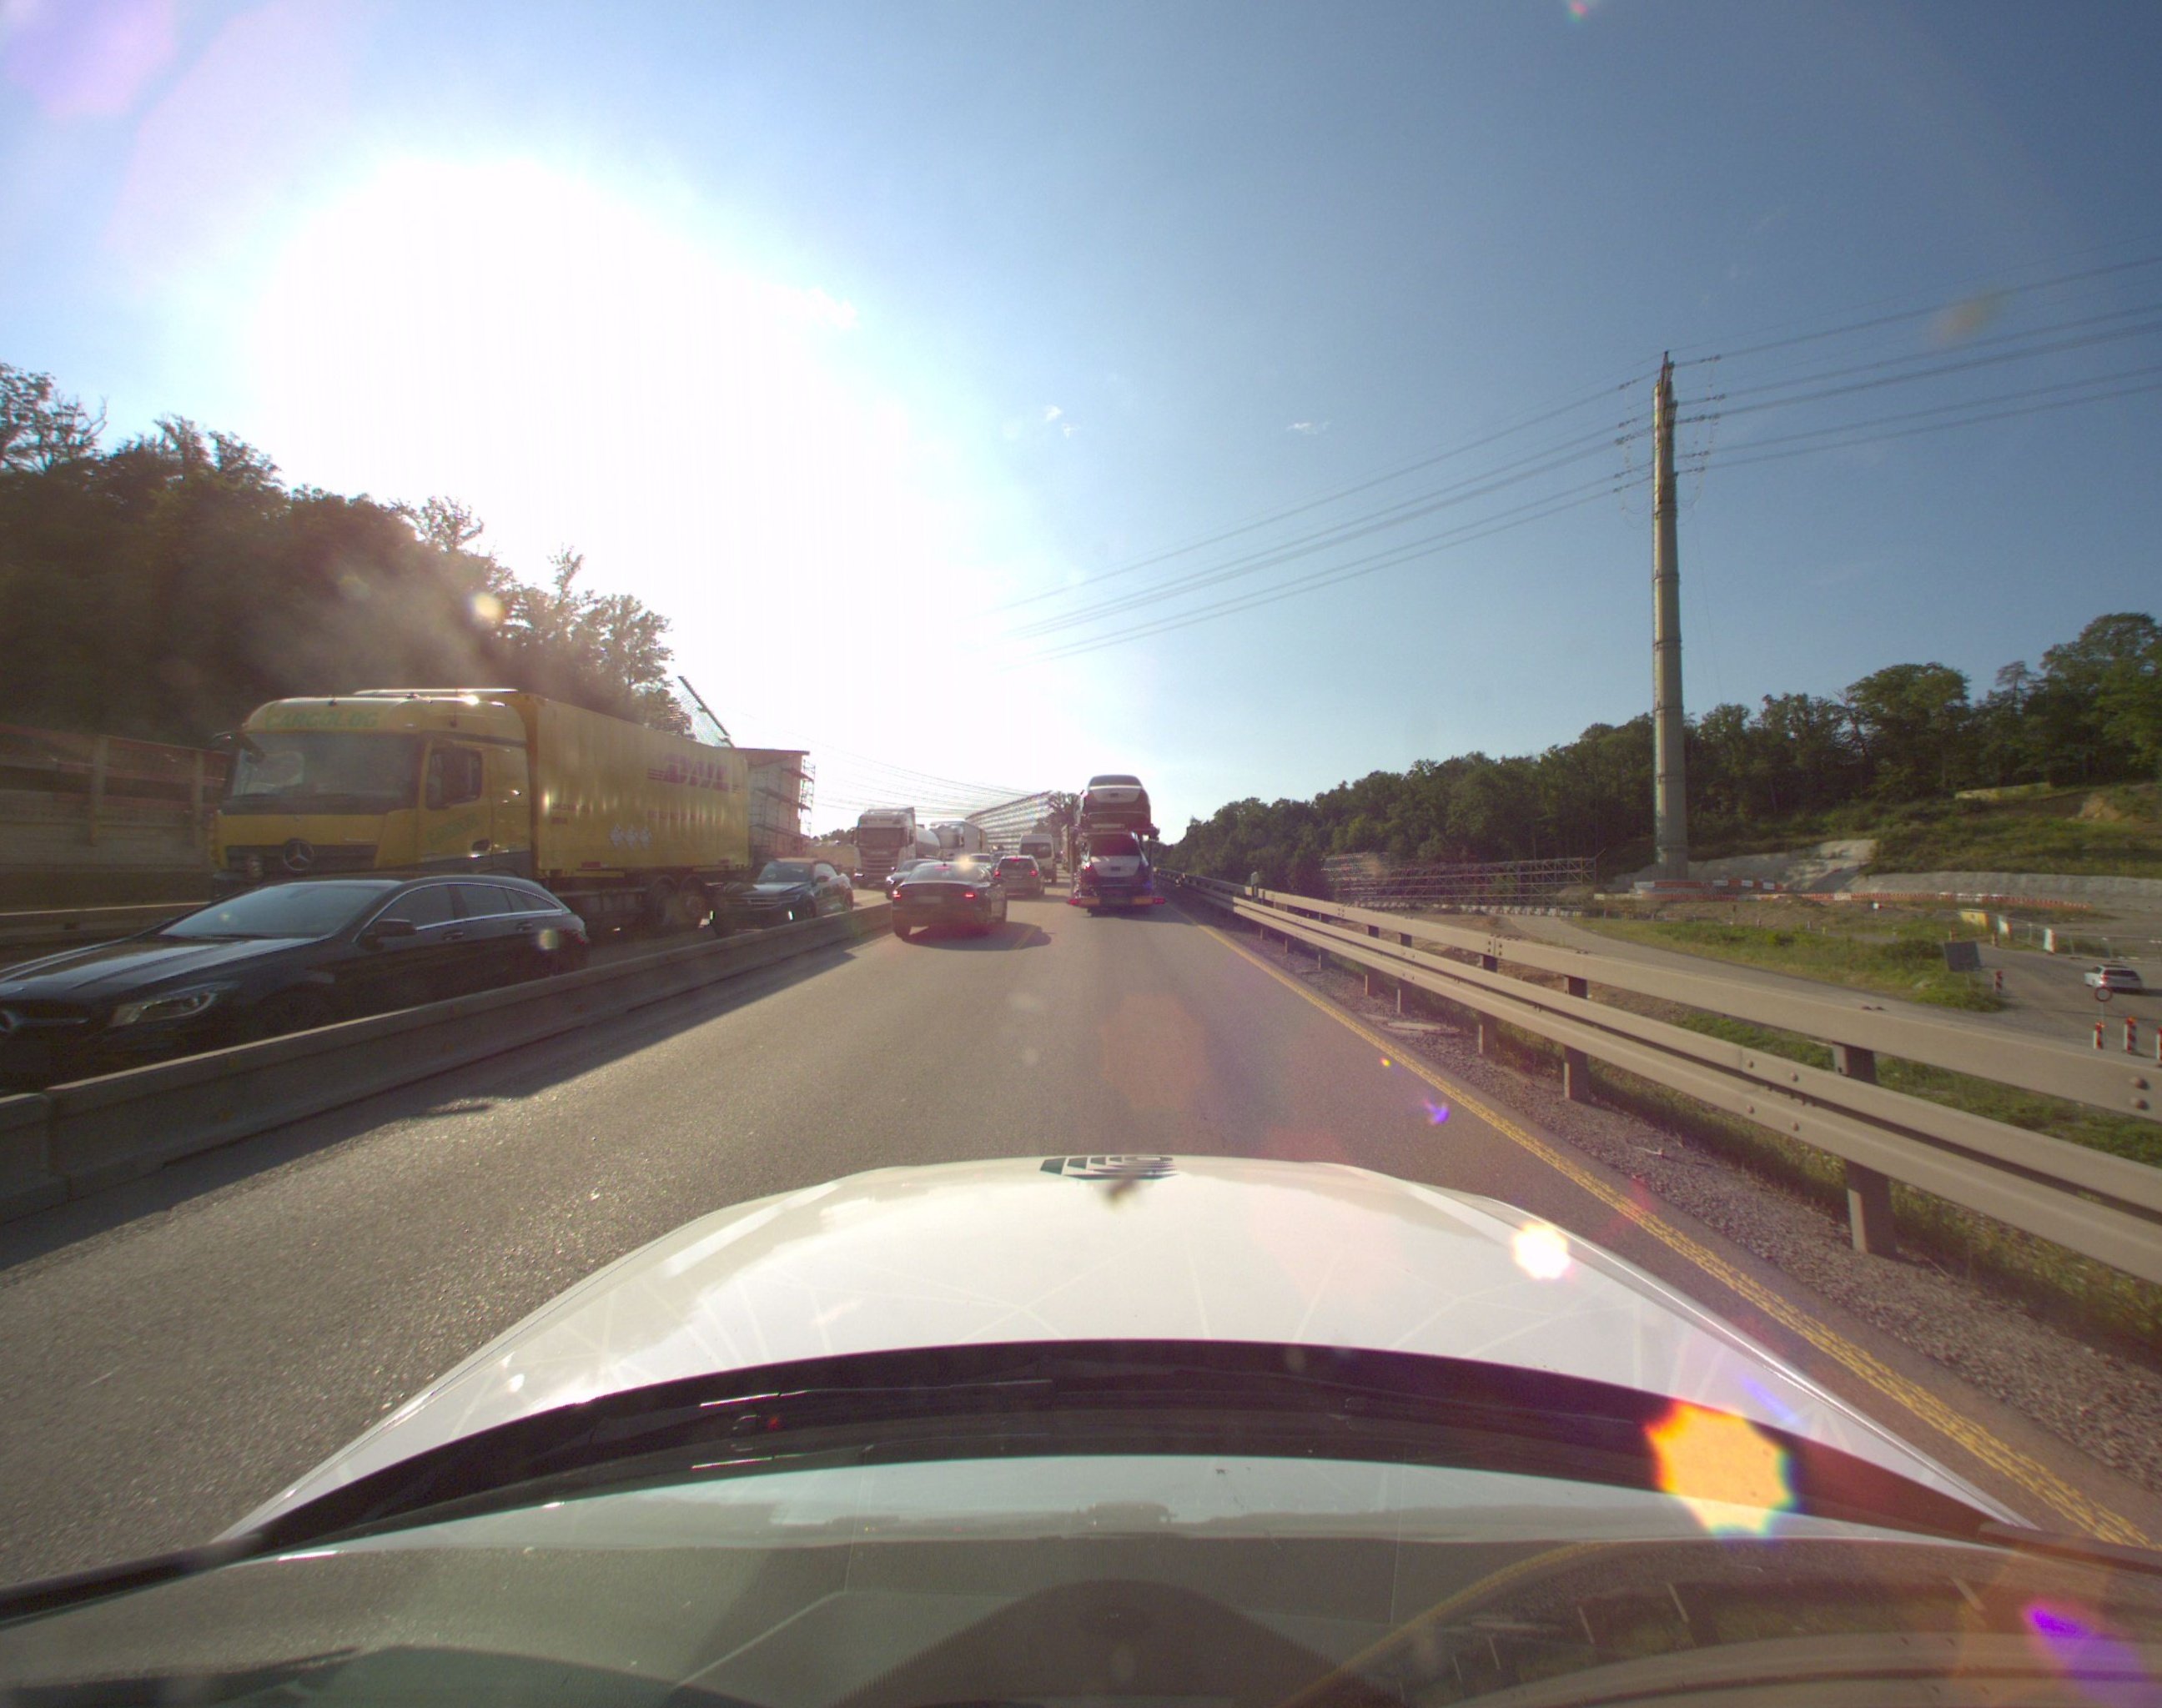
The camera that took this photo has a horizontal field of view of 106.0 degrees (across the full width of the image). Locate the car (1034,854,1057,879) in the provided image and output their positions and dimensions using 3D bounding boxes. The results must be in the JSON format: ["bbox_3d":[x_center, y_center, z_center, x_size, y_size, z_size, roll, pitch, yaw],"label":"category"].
[{"bbox_3d":[-2.942,1.032,66.479,1.665,1.985,3.811,-1,-1,-5],"label":"car"}]

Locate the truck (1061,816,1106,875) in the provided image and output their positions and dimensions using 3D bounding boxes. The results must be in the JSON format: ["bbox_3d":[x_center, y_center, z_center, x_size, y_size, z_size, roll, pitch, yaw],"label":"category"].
[{"bbox_3d":[0.058,-0.703,70.506,3.221,4.677,11.681,-1,0,-3],"label":"truck"}]

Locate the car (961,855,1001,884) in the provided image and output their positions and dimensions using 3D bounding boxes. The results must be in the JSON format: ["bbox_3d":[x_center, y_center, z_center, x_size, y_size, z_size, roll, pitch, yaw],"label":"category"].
[{"bbox_3d":[-6.102,0.962,50.086,1.840,1.648,4.559,-2,-1,0],"label":"car"}]

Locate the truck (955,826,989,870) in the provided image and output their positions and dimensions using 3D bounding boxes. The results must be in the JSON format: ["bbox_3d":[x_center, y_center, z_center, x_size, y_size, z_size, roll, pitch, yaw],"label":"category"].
[{"bbox_3d":[-10.869,-0.520,81.696,2.888,4.272,5.763,-1,-1,-4],"label":"truck"}]

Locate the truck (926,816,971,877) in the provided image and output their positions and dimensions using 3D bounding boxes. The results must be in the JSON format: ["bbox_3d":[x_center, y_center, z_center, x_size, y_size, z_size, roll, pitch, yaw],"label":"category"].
[{"bbox_3d":[-9.753,-0.493,60.568,2.437,4.272,6.316,-1,-1,-2],"label":"truck"}]

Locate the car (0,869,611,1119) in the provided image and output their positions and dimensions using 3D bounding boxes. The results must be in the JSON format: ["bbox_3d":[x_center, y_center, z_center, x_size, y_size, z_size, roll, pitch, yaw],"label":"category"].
[{"bbox_3d":[-6.375,0.879,7.108,1.791,1.453,4.616,-1,-1,1],"label":"car"}]

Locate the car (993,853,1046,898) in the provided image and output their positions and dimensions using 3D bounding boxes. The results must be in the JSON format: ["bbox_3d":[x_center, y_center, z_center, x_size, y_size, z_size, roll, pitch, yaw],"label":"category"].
[{"bbox_3d":[-2.287,0.811,31.197,1.695,1.587,4.145,-1,-1,0],"label":"car"}]

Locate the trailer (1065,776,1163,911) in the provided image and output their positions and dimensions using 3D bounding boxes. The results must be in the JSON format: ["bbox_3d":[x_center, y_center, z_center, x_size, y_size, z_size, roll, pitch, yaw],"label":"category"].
[{"bbox_3d":[1.104,-0.161,32.085,2.865,3.994,15.279,-1,-1,1],"label":"trailer"}]

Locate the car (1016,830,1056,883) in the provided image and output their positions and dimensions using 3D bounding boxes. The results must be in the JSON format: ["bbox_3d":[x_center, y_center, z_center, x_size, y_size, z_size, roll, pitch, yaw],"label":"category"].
[{"bbox_3d":[-2.370,0.167,43.384,1.974,2.684,4.143,-1,-1,-2],"label":"car"}]

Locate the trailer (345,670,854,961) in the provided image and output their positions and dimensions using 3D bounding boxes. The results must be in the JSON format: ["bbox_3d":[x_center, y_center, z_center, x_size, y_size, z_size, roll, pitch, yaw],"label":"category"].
[{"bbox_3d":[-9.270,-0.409,19.888,2.692,4.204,15.997,-1,-1,1],"label":"trailer"}]

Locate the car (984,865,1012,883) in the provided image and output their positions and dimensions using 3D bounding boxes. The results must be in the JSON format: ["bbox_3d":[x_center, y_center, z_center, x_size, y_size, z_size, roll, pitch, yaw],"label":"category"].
[{"bbox_3d":[-6.314,1.500,62.231,1.706,1.253,4.049,-2,-1,-1],"label":"car"}]

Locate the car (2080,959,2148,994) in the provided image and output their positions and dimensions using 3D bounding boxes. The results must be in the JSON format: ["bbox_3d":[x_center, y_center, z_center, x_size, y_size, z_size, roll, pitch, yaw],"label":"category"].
[{"bbox_3d":[60.869,7.204,48.067,1.511,1.461,4.295,-2,-2,39],"label":"car"}]

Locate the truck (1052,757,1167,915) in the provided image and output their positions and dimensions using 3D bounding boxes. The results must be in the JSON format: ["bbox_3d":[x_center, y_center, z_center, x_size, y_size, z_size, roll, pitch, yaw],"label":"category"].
[{"bbox_3d":[0.933,-0.410,23.681,2.857,3.980,5.777,-1,-1,4],"label":"truck"}]

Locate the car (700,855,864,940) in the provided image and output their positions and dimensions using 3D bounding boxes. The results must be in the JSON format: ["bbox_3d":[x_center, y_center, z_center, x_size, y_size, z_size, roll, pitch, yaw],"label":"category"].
[{"bbox_3d":[-6.032,0.840,17.009,1.710,1.508,4.292,-1,-1,1],"label":"car"}]

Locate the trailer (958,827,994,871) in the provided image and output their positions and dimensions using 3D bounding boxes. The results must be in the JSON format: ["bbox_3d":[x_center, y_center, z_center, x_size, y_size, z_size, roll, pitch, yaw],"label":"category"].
[{"bbox_3d":[-11.383,-0.396,89.623,2.888,4.394,14.358,-1,-1,-4],"label":"trailer"}]

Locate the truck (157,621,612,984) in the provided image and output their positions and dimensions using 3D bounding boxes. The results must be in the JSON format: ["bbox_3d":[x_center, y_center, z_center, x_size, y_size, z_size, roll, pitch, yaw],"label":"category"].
[{"bbox_3d":[-9.388,-0.571,11.704,2.685,4.197,4.398,-1,-1,0],"label":"truck"}]

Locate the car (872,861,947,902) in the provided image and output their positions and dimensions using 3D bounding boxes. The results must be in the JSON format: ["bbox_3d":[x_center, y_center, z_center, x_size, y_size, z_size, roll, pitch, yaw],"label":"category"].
[{"bbox_3d":[-6.374,1.002,30.778,1.734,1.402,4.902,-1,-1,1],"label":"car"}]

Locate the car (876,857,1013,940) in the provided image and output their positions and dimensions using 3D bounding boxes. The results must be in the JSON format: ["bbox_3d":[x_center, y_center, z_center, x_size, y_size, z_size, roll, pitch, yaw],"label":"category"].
[{"bbox_3d":[-2.733,0.861,17.629,1.933,1.480,5.223,-2,-1,1],"label":"car"}]

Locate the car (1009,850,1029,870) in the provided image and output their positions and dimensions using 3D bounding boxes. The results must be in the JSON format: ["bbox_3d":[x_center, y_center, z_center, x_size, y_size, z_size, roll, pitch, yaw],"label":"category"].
[{"bbox_3d":[-6.090,0.535,80.441,1.829,1.917,4.859,-1,0,-3],"label":"car"}]

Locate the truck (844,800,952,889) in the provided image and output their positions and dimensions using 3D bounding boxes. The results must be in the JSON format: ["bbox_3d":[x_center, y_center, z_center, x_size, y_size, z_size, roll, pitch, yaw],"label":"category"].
[{"bbox_3d":[-9.451,-0.383,44.034,2.801,3.970,13.885,2,-1,-1],"label":"truck"}]

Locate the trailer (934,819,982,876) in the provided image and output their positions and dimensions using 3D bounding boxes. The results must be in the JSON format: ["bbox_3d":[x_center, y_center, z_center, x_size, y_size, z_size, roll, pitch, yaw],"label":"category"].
[{"bbox_3d":[-10.043,-0.343,67.592,2.447,4.266,12.135,-1,-1,-2],"label":"trailer"}]

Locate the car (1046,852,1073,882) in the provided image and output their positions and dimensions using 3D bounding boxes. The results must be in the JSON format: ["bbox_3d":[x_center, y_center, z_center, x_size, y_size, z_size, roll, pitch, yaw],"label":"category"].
[{"bbox_3d":[-1.503,0.899,55.648,1.665,1.985,3.811,-1,-1,-5],"label":"car"}]

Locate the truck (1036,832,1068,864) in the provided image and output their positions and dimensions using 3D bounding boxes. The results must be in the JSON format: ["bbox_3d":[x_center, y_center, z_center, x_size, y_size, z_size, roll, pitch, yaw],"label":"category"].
[{"bbox_3d":[-4.557,-0.904,125.252,3.646,4.677,11.662,-1,0,-8],"label":"truck"}]
